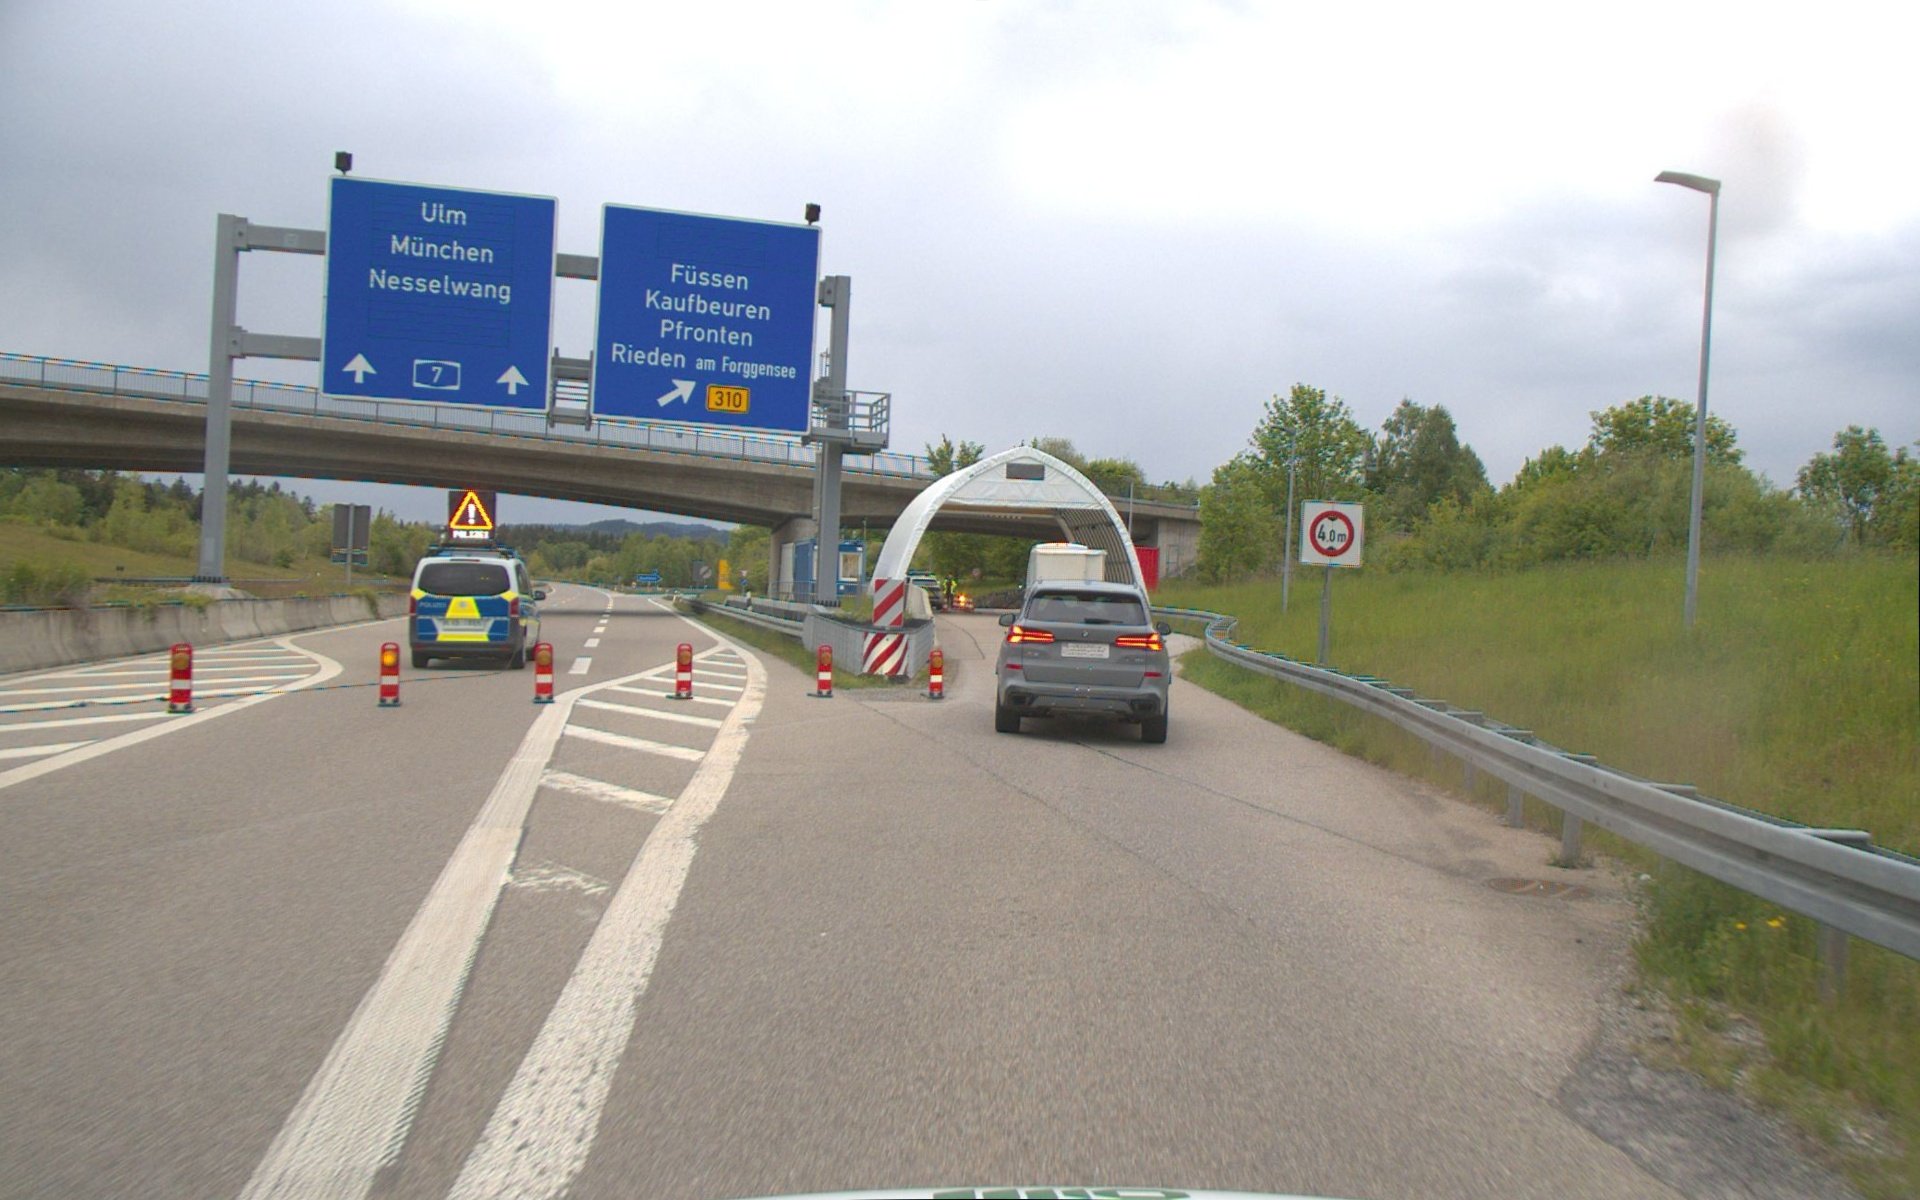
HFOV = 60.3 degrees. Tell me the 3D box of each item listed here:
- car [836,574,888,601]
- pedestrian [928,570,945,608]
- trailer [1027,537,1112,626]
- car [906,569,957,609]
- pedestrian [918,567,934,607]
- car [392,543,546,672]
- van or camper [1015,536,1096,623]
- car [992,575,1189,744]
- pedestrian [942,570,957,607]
[{"bbox_3d":[-5.496,-0.723,92.872,1.501,1.467,3.278,1,1,-33],"label":"car"},{"bbox_3d":[-1.137,-0.541,80.105,0.706,1.806,0.689,1,0,-7],"label":"pedestrian"},{"bbox_3d":[3.254,-0.518,50.486,2.232,2.473,6.818,1,0,1],"label":"trailer"},{"bbox_3d":[-1.365,-0.513,77.572,1.956,1.803,3.759,1,0,-8],"label":"car"},{"bbox_3d":[-1.675,-0.638,81.079,0.706,1.979,0.689,1,0,-7],"label":"pedestrian"},{"bbox_3d":[-8.637,0.082,29.532,2.246,2.048,5.034,1,1,-13],"label":"car"},{"bbox_3d":[3.201,-0.665,56.851,2.114,2.812,5.868,1,0,-3],"label":"van or camper"},{"bbox_3d":[1.653,0.627,19.612,1.951,1.749,4.003,1,0,10],"label":"car"},{"bbox_3d":[-0.519,-0.554,80.966,0.636,1.806,0.604,1,0,-9],"label":"pedestrian"}]
